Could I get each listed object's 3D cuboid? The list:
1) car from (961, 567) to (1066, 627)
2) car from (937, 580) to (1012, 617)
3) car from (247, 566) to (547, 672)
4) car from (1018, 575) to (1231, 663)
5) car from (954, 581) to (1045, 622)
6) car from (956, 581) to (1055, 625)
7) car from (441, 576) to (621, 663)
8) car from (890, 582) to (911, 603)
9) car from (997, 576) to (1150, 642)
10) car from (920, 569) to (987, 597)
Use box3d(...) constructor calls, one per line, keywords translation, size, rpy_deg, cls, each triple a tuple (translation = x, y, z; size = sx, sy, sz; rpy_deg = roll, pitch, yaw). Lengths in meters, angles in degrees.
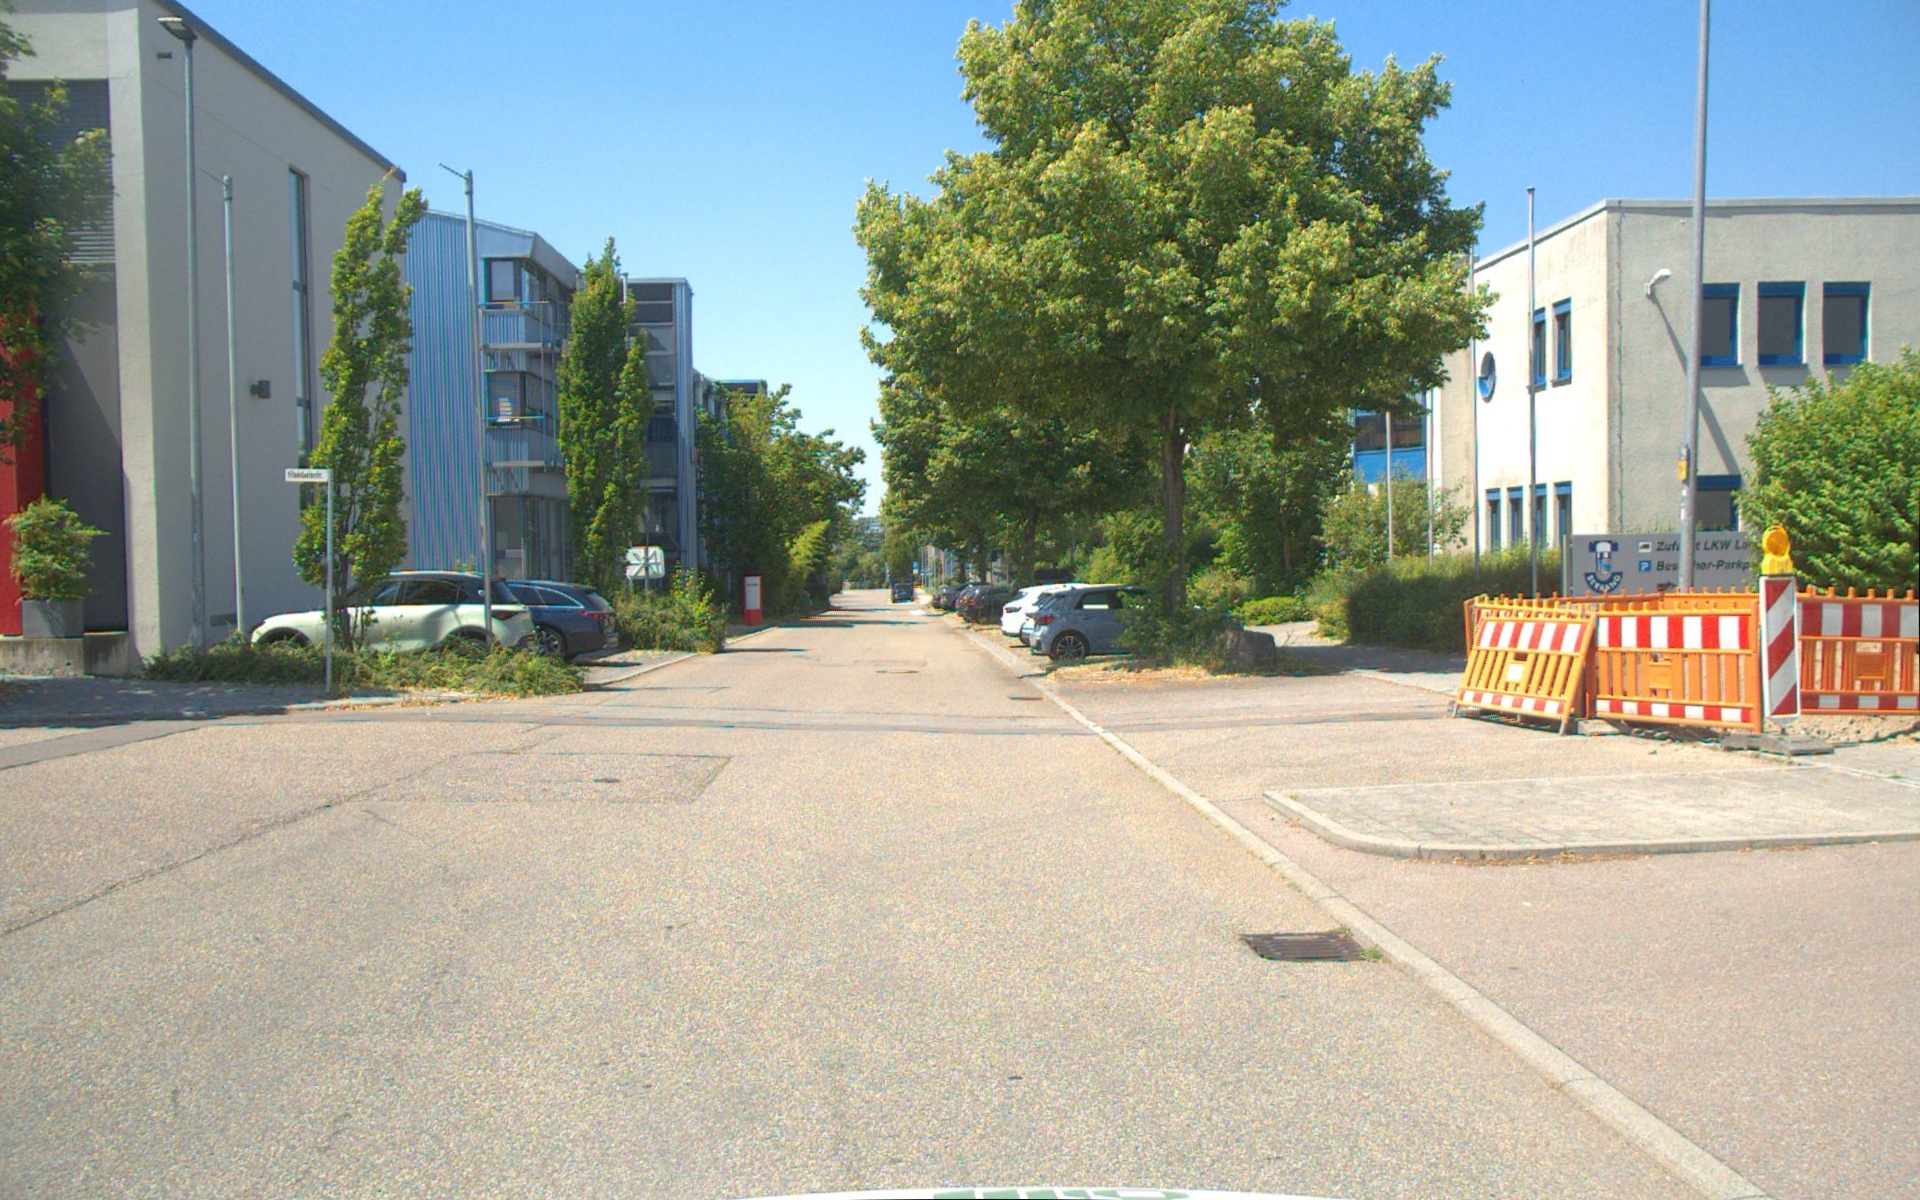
box3d(translation=(1.888, -0.111, 59.486), size=(3.647, 2.147, 1.813), rpy_deg=(0, 0, -3), cls="car")
box3d(translation=(0.784, -0.104, 90.035), size=(3.860, 1.866, 1.764), rpy_deg=(0, 4, -10), cls="car")
box3d(translation=(-8.392, 0.273, 24.926), size=(3.967, 1.521, 1.727), rpy_deg=(0, 0, -5), cls="car")
box3d(translation=(3.005, 0.327, 30.578), size=(3.609, 1.378, 1.643), rpy_deg=(-3, 0, -7), cls="car")
box3d(translation=(1.613, 0.053, 67.957), size=(3.647, 1.655, 1.813), rpy_deg=(0, 0, -3), cls="car")
box3d(translation=(1.708, 0.116, 62.691), size=(3.647, 1.655, 1.813), rpy_deg=(0, 0, -3), cls="car")
box3d(translation=(-7.676, 0.350, 29.807), size=(3.001, 1.504, 1.290), rpy_deg=(0, 0, -9), cls="car")
box3d(translation=(-5.075, -0.641, 141.230), size=(1.725, 1.786, 3.943), rpy_deg=(0, 0, -1), cls="car")
box3d(translation=(2.733, 0.200, 40.281), size=(3.450, 1.378, 1.536), rpy_deg=(-3, 0, -7), cls="car")
box3d(translation=(-0.409, -1.048, 102.027), size=(3.860, 1.604, 1.764), rpy_deg=(0, 4, -10), cls="car")
